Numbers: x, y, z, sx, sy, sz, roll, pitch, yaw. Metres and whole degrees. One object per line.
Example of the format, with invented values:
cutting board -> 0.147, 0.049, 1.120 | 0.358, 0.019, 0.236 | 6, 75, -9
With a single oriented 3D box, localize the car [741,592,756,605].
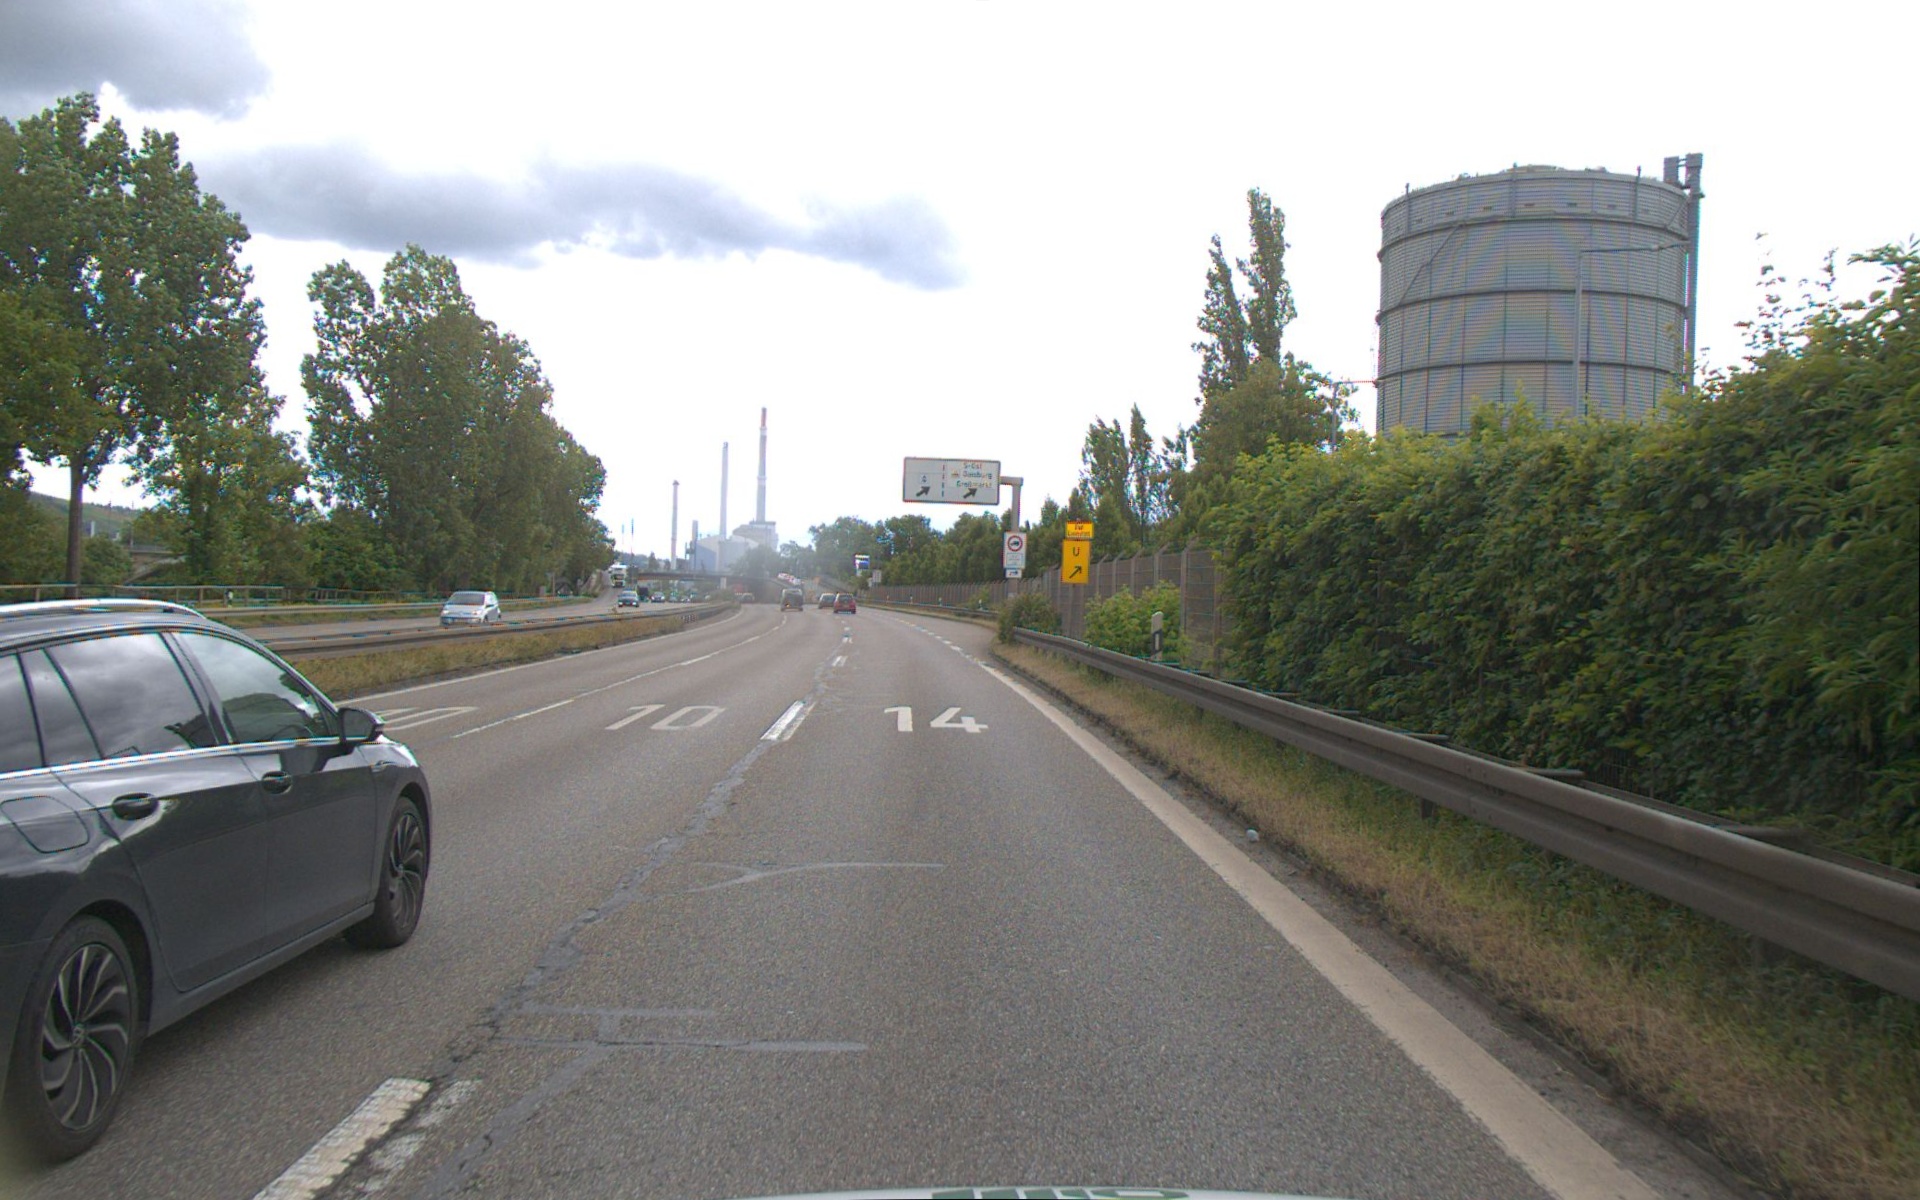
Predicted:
car -> -29.435, -0.275, 230.009 | 1.668, 1.772, 4.379 | 0, 0, -12

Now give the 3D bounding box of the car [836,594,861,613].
car -> -8.941, 0.290, 132.130 | 1.936, 1.448, 4.895 | 0, 0, -5

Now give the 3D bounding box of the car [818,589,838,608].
car -> -12.823, -0.146, 160.494 | 1.665, 1.772, 4.386 | 0, 0, -7

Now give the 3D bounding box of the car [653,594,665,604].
car -> -41.841, -0.166, 229.917 | 1.667, 1.438, 4.627 | 0, 0, -10

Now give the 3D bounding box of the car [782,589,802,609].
car -> -14.601, -0.102, 143.598 | 1.665, 1.772, 3.995 | 0, 0, -6

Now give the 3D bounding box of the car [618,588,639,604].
car -> -31.410, -0.408, 156.874 | 1.666, 1.438, 4.629 | 0, 0, -8

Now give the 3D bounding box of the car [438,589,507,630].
car -> -17.938, 0.321, 61.027 | 1.582, 1.410, 3.730 | 1, 0, -3

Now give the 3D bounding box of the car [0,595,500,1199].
car -> -3.165, 0.746, 5.600 | 1.807, 1.448, 4.900 | 2, 0, 0
